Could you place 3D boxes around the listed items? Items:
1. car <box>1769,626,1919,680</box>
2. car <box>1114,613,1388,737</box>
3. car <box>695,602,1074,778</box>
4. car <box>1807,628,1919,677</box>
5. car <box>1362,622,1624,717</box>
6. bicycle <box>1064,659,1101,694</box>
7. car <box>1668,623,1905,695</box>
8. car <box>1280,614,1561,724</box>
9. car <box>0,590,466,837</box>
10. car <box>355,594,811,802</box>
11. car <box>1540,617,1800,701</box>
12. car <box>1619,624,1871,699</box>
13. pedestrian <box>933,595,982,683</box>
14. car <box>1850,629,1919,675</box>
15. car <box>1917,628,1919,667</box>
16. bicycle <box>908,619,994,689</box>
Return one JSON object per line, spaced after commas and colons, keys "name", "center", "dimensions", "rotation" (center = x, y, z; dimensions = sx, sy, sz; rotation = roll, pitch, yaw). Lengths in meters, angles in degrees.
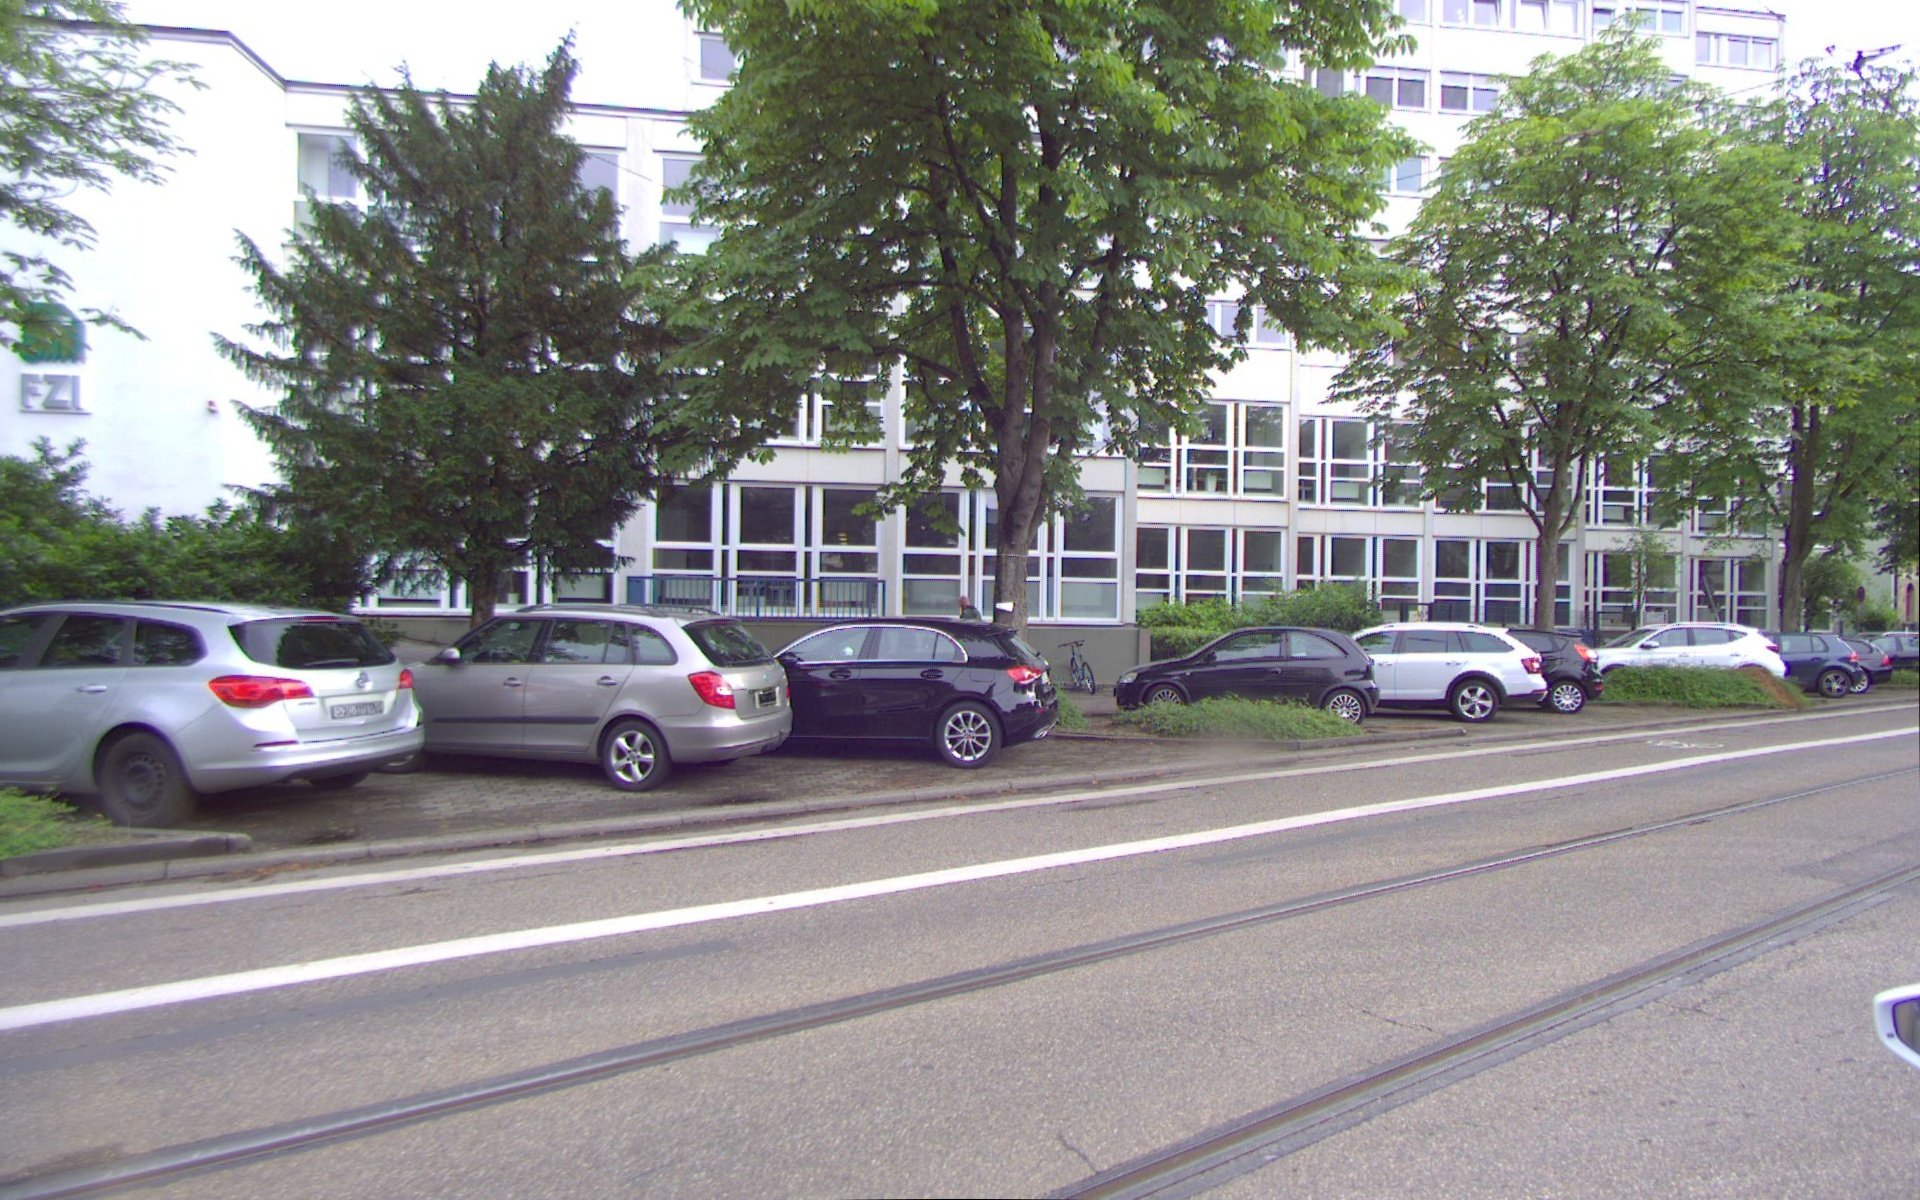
{"name": "car", "center": [26.031, 1.516, 28.904], "dimensions": [3.888, 1.370, 1.701], "rotation": [2, 0, 12]}
{"name": "car", "center": [4.188, 1.031, 14.814], "dimensions": [3.631, 1.544, 1.701], "rotation": [2, 0, 13]}
{"name": "car", "center": [-0.729, 0.844, 10.646], "dimensions": [3.631, 1.544, 1.701], "rotation": [2, 0, 13]}
{"name": "car", "center": [28.724, 1.615, 30.751], "dimensions": [3.888, 1.370, 1.701], "rotation": [2, 0, 12]}
{"name": "car", "center": [9.457, 1.182, 18.181], "dimensions": [3.949, 1.424, 1.700], "rotation": [2, 0, 20]}
{"name": "bicycle", "center": [2.465, 1.533, 20.330], "dimensions": [0.340, 0.543, 1.265], "rotation": [0, 3, -12]}
{"name": "car", "center": [20.698, 1.444, 25.332], "dimensions": [4.258, 1.556, 1.701], "rotation": [2, 0, 12]}
{"name": "car", "center": [7.361, 1.048, 16.430], "dimensions": [3.949, 1.504, 1.700], "rotation": [2, 0, 20]}
{"name": "car", "center": [-6.306, 0.703, 7.613], "dimensions": [4.342, 1.484, 1.805], "rotation": [2, 0, 10]}
{"name": "car", "center": [-3.336, 0.773, 9.104], "dimensions": [3.577, 1.544, 1.573], "rotation": [2, 0, 13]}
{"name": "car", "center": [15.280, 1.226, 21.823], "dimensions": [4.258, 1.577, 1.701], "rotation": [2, 0, 9]}
{"name": "car", "center": [18.115, 1.378, 23.392], "dimensions": [4.258, 1.473, 1.701], "rotation": [2, 0, 12]}
{"name": "pedestrian", "center": [-0.054, 0.752, 19.554], "dimensions": [0.722, 1.633, 0.753], "rotation": [3, 1, -13]}
{"name": "car", "center": [31.368, 1.708, 32.192], "dimensions": [3.888, 1.370, 1.701], "rotation": [2, 0, 12]}
{"name": "car", "center": [35.899, 1.748, 34.587], "dimensions": [3.888, 1.370, 1.701], "rotation": [2, 0, 12]}
{"name": "bicycle", "center": [-0.178, 1.053, 19.516], "dimensions": [1.568, 1.285, 0.405], "rotation": [3, 0, -13]}
